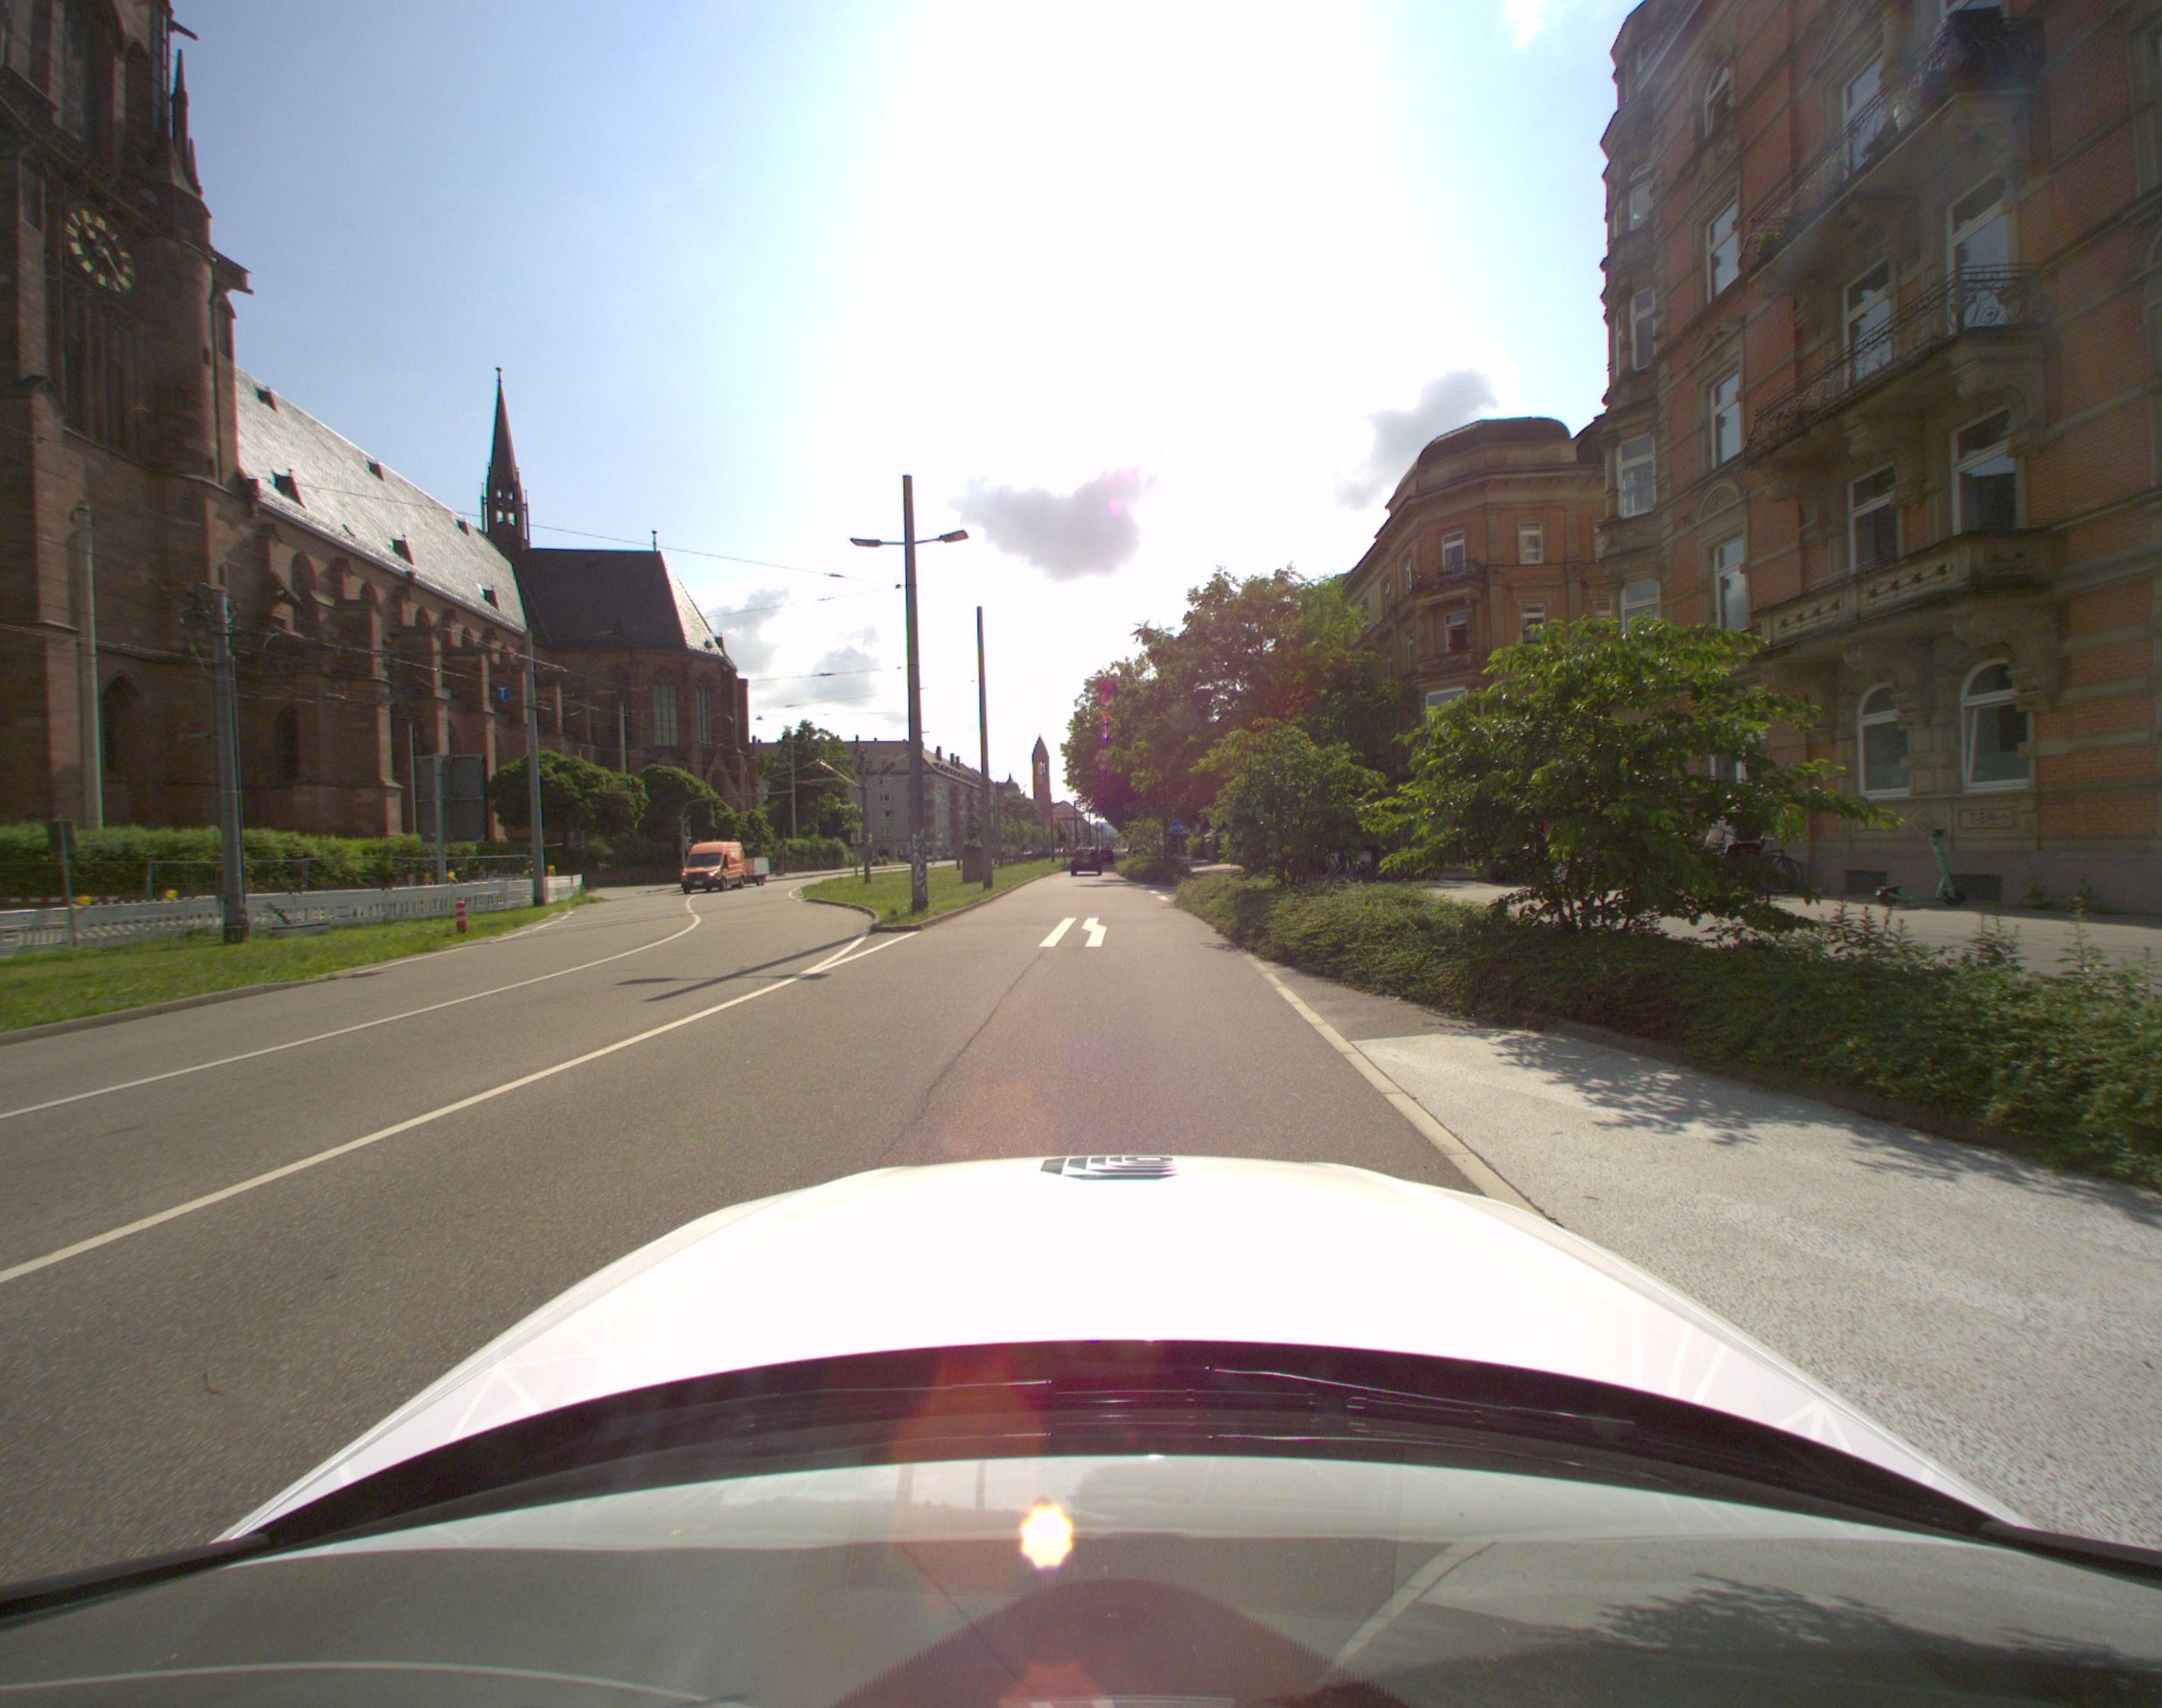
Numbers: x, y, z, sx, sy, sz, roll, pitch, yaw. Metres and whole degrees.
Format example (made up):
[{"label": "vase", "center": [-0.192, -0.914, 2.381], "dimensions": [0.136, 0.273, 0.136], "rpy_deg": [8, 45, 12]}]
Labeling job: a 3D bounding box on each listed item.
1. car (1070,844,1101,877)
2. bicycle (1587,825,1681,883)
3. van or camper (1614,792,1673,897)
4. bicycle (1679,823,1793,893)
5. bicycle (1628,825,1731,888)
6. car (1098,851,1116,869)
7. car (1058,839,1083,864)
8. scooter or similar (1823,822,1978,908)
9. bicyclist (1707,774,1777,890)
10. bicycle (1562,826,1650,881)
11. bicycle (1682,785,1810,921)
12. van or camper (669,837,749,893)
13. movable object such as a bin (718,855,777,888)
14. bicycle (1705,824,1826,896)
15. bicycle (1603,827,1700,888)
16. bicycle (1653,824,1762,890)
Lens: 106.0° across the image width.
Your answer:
[{"label": "car", "center": [0.291, 0.342, 48.622], "dimensions": [1.682, 1.711, 3.611], "rpy_deg": [-2, 3, 2]}, {"label": "bicycle", "center": [12.654, -0.006, 18.663], "dimensions": [1.760, 1.267, 0.467], "rpy_deg": [-2, 3, 6]}, {"label": "van or camper", "center": [11.073, -0.189, 16.059], "dimensions": [0.663, 2.013, 0.639], "rpy_deg": [-2, 0, 3]}, {"label": "bicycle", "center": [12.672, 0.075, 15.779], "dimensions": [1.736, 1.267, 0.467], "rpy_deg": [-2, 3, 6]}, {"label": "bicycle", "center": [12.646, 0.052, 17.234], "dimensions": [1.760, 1.267, 0.467], "rpy_deg": [-2, 3, 6]}, {"label": "car", "center": [2.606, 0.569, 80.522], "dimensions": [1.682, 1.573, 3.611], "rpy_deg": [-2, 3, 2]}, {"label": "car", "center": [-0.879, -0.219, 69.463], "dimensions": [1.987, 2.013, 4.000], "rpy_deg": [-3, 0, 1]}, {"label": "scooter or similar", "center": [12.572, 0.164, 12.518], "dimensions": [1.762, 1.185, 0.467], "rpy_deg": [-4, 0, 3]}, {"label": "bicyclist", "center": [10.199, -0.338, 12.585], "dimensions": [0.425, 1.718, 0.829], "rpy_deg": [-2, 1, 4]}, {"label": "bicycle", "center": [12.676, -0.013, 19.683], "dimensions": [1.760, 1.267, 0.467], "rpy_deg": [-2, 3, 6]}, {"label": "bicycle", "center": [10.143, -0.027, 12.496], "dimensions": [0.680, 1.925, 1.591], "rpy_deg": [-2, 0, 4]}, {"label": "van or camper", "center": [-19.984, 0.546, 44.088], "dimensions": [2.255, 2.737, 6.183], "rpy_deg": [-2, 0, -9]}, {"label": "movable object such as a bin", "center": [-20.669, 1.051, 50.589], "dimensions": [2.202, 1.693, 3.713], "rpy_deg": [-2, 3, -3]}, {"label": "bicycle", "center": [12.749, 0.109, 15.193], "dimensions": [1.760, 1.267, 0.467], "rpy_deg": [-2, 3, 6]}, {"label": "bicycle", "center": [12.620, 0.070, 18.041], "dimensions": [1.760, 1.267, 0.467], "rpy_deg": [-2, 3, 6]}, {"label": "bicycle", "center": [12.647, 0.057, 16.460], "dimensions": [1.760, 1.267, 0.467], "rpy_deg": [-2, 3, 6]}]
